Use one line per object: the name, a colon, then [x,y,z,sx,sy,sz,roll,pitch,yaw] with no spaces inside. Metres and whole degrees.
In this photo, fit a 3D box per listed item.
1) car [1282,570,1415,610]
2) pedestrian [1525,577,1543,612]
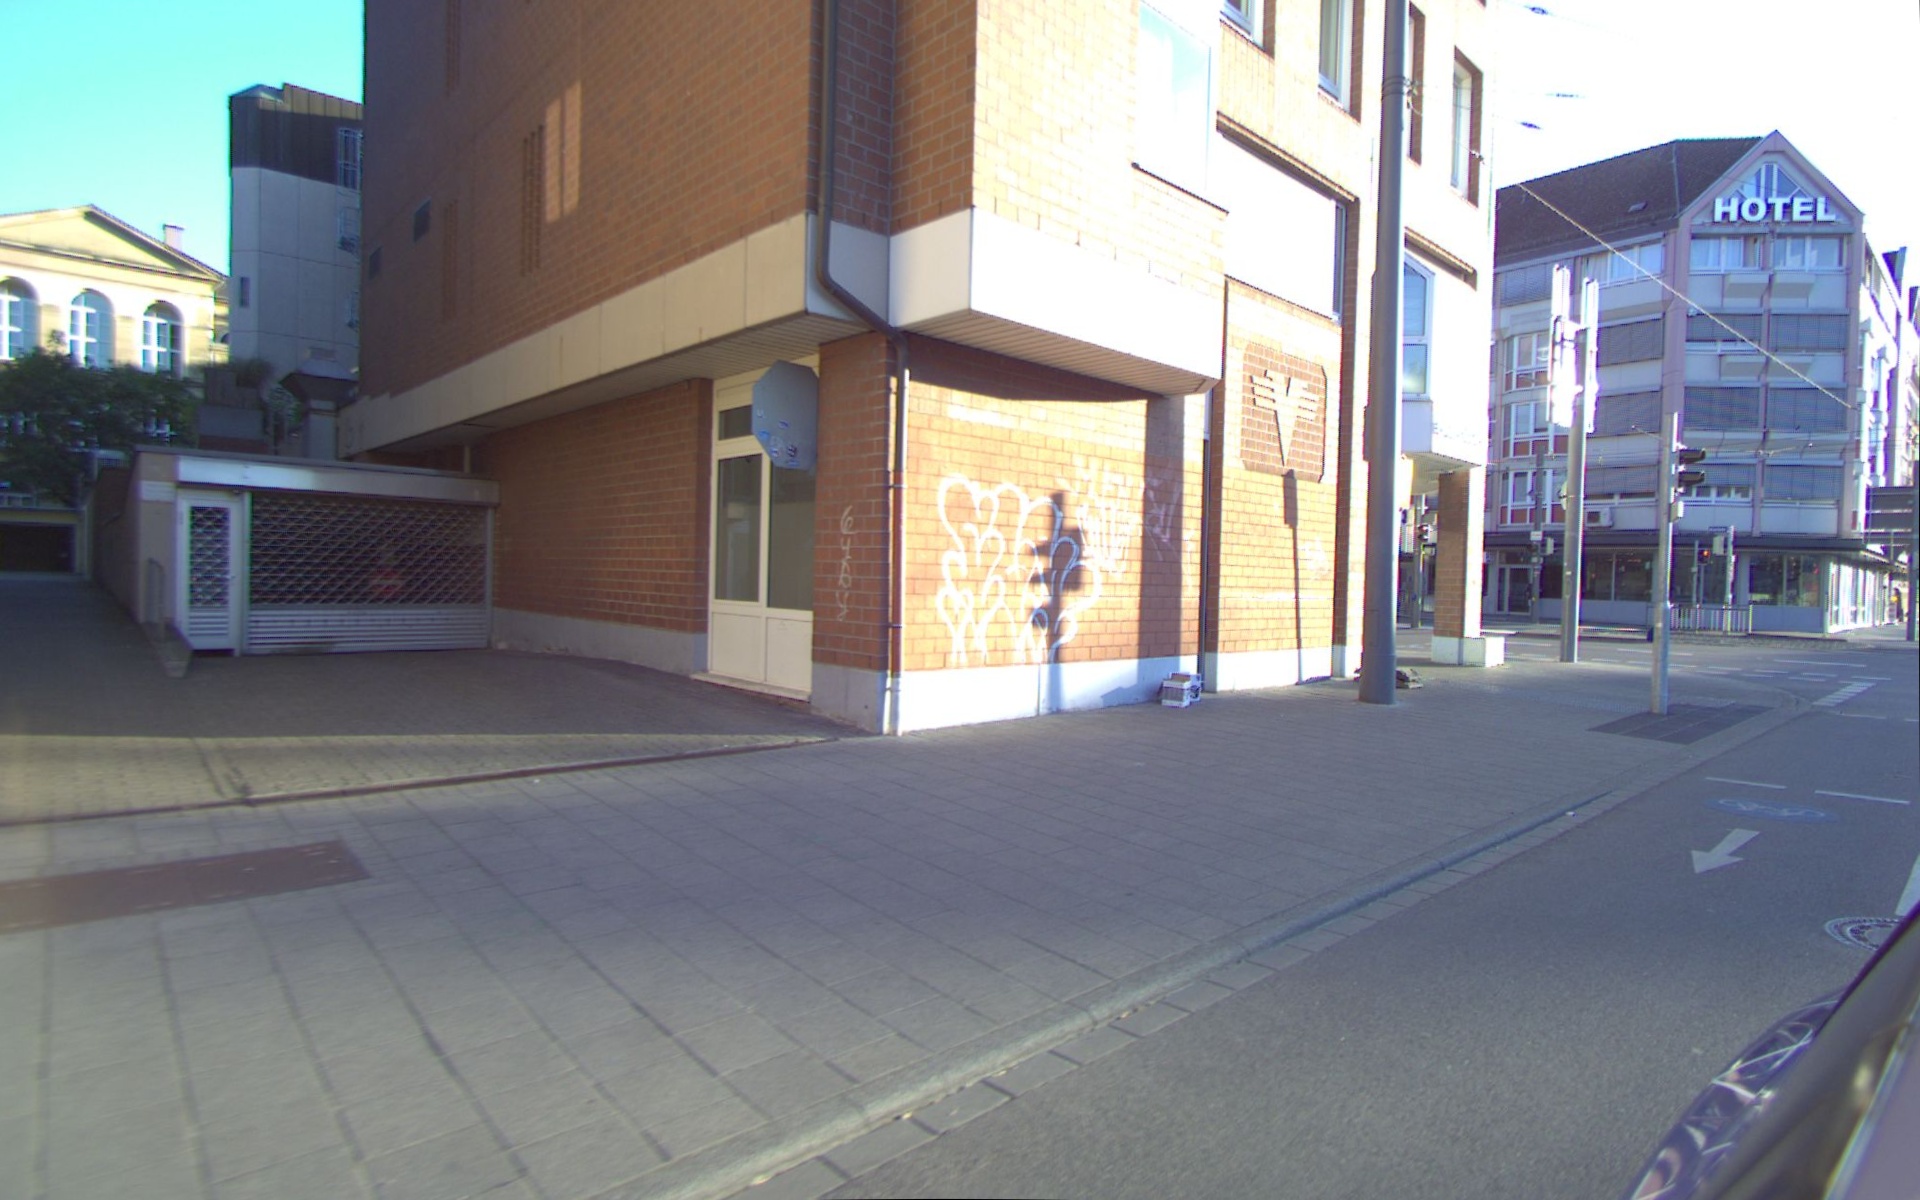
car: [17.965,-0.484,47.050,1.993,1.648,5.579,1,2,-35]
pedestrian: [25.386,-0.255,44.760,0.468,1.511,0.472,1,1,-5]
